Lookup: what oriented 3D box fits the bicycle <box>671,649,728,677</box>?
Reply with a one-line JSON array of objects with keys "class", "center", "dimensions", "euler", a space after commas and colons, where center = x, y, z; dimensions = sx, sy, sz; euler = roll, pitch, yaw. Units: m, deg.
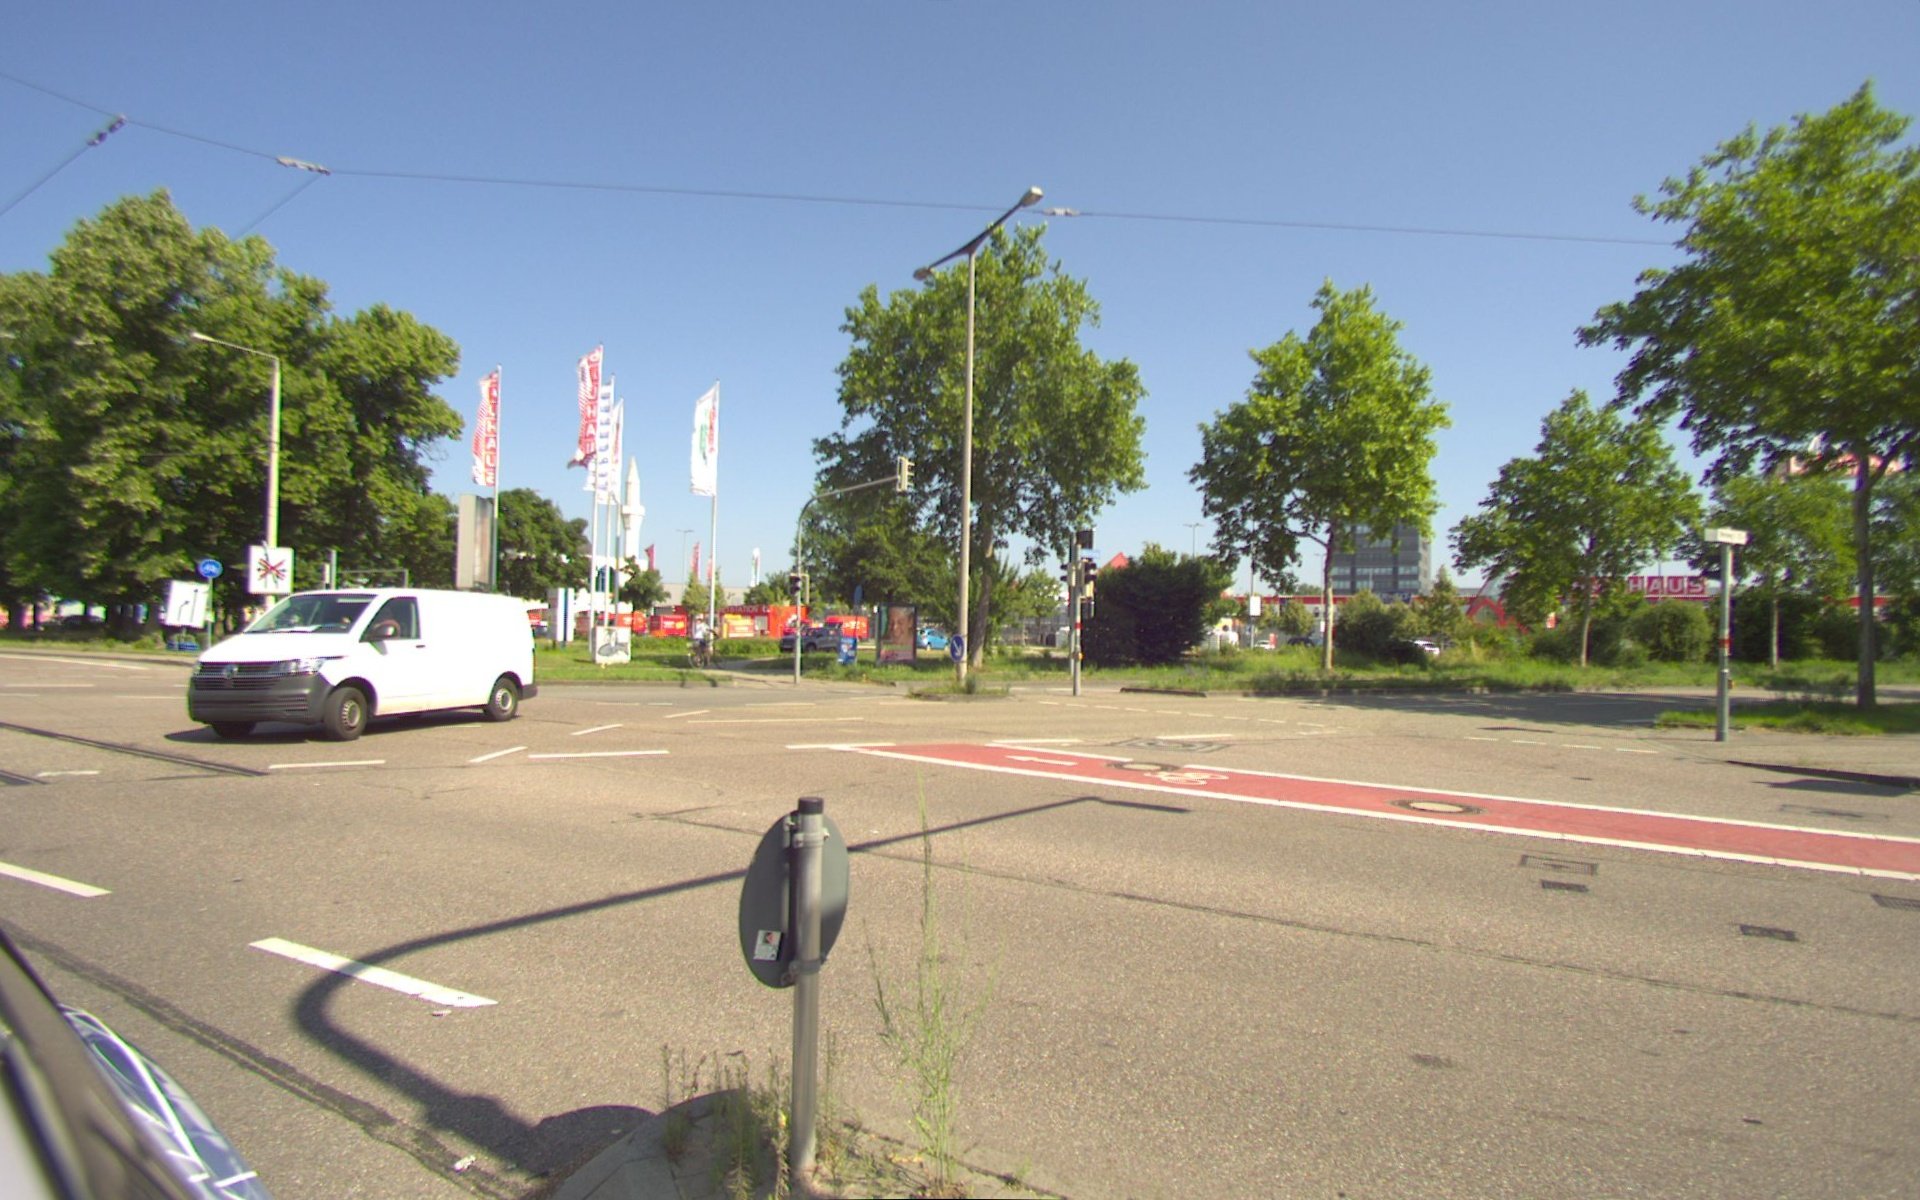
[{"class": "bicycle", "center": [-8.717, 2.098, 33.928], "dimensions": [0.546, 0.929, 1.852], "euler": [-1, -3, 39]}]

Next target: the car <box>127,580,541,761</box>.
[{"class": "car", "center": [-8.144, 0.877, 13.903], "dimensions": [1.869, 2.009, 4.953], "euler": [0, -2, 13]}]

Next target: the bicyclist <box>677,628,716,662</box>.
[{"class": "bicyclist", "center": [-8.845, 1.505, 33.982], "dimensions": [0.891, 1.092, 0.939], "euler": [-1, -3, 40]}]
